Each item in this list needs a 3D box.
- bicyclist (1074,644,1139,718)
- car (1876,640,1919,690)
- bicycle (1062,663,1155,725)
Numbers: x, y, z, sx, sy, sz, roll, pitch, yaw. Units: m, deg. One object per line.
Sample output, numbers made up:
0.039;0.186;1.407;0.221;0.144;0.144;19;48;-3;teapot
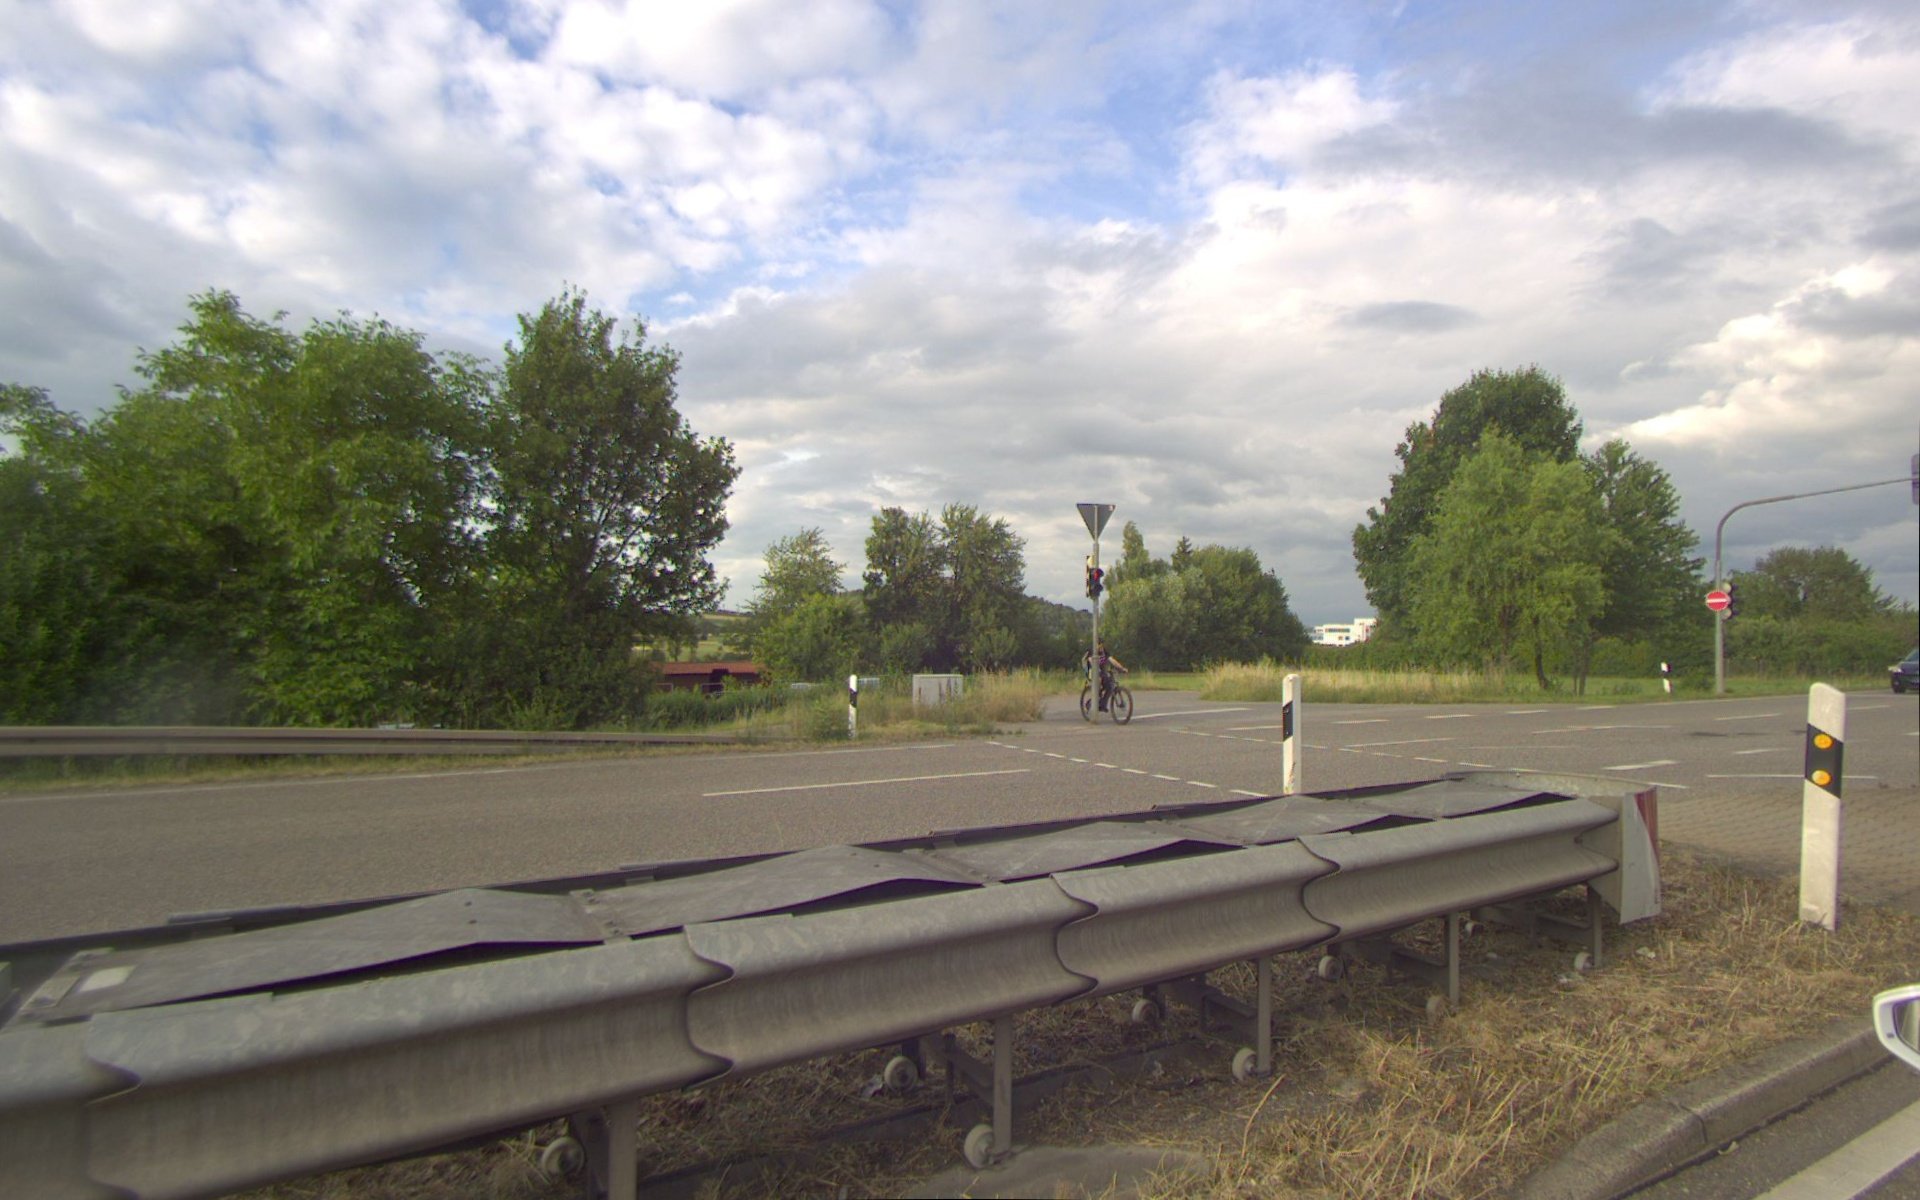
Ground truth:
3.023;1.652;20.807;0.804;1.470;1.219;1;-2;-24;bicyclist
31.747;2.072;32.392;4.881;1.556;1.899;1;-2;-31;car
3.025;1.902;20.765;0.804;1.152;2.314;1;-2;-24;bicycle
